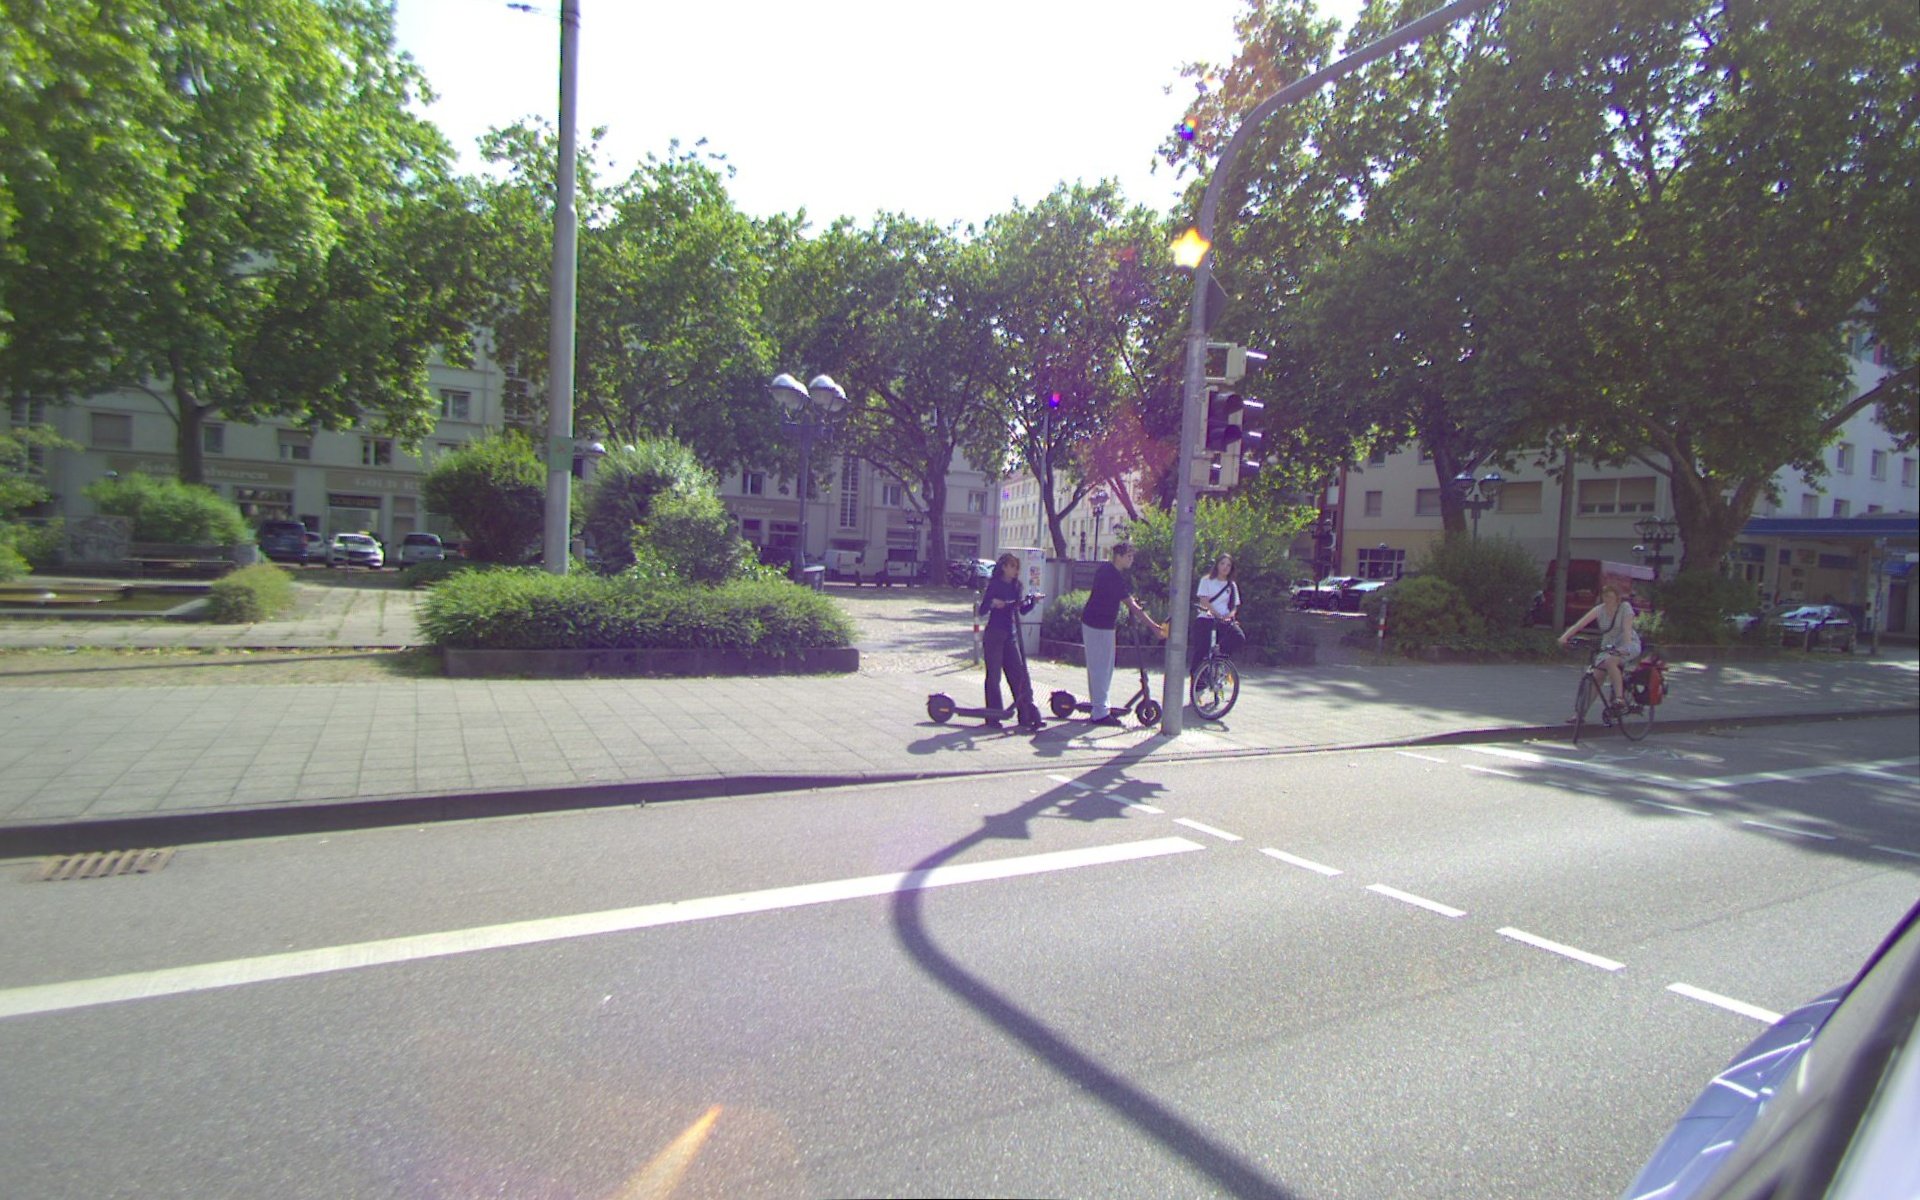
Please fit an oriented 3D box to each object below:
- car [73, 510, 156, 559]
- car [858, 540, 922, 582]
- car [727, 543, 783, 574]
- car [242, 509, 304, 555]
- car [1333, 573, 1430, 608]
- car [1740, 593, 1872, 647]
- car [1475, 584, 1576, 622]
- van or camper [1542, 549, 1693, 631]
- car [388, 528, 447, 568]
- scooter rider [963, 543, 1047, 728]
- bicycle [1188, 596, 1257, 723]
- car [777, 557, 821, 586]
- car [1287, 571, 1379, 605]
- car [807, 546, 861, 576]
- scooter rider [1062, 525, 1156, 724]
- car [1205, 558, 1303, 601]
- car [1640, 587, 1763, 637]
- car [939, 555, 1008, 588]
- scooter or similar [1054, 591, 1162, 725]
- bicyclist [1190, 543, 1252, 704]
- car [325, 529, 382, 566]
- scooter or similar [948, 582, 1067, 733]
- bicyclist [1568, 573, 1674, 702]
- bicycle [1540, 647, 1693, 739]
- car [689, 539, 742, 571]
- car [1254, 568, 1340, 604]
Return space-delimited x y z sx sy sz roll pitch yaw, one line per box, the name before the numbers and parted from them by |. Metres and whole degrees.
car | -31.821 -2.474 38.196 1.815 1.679 4.088 1 3 -32
car | -3.758 -2.022 53.610 2.208 2.039 3.942 1 0 -22
car | -12.459 -2.514 61.354 2.041 1.679 4.089 1 3 -32
car | -27.677 -2.748 40.801 1.961 1.704 4.003 1 3 -34
car | 17.941 -0.394 43.049 3.920 1.381 1.769 1 0 -31
car | 25.406 0.598 30.372 3.920 1.428 1.760 1 2 -31
car | 20.983 0.122 37.543 3.920 1.310 1.480 1 0 -31
van or camper | 23.039 -0.319 35.418 5.240 2.675 2.112 1 0 -28
car | -23.356 -2.250 43.536 1.833 1.537 3.947 1 3 -34
scooter rider | 0.415 0.306 9.286 0.436 1.612 0.537 6 4 38
bicycle | 2.800 0.587 10.908 0.499 1.125 1.628 4 5 9
car | -9.979 -1.751 62.675 1.892 1.688 3.744 1 0 -22
car | 16.682 -0.518 45.205 3.920 1.381 1.769 1 0 -31
car | -8.000 -2.484 64.015 1.815 1.679 4.089 1 3 -32
scooter rider | 1.422 0.216 9.774 0.666 1.831 0.546 3 3 -4
car | 14.531 -0.978 49.915 4.588 1.959 2.002 1 0 -31
car | 23.964 0.393 32.692 3.920 1.428 1.760 1 2 -31
car | 0.692 -1.595 55.791 1.815 1.551 4.089 1 3 -32
scooter or similar | 1.418 0.549 9.793 0.859 1.185 0.546 3 3 -4
bicyclist | 2.865 0.235 11.152 0.499 1.687 0.582 4 4 10
car | -25.103 -2.176 41.834 1.833 1.370 3.947 1 3 -34
scooter or similar | 0.432 0.494 9.273 0.873 1.240 0.537 6 4 39
bicyclist | 7.279 0.407 11.151 0.890 1.360 0.472 2 2 -21
bicycle | 7.243 1.010 11.161 1.681 0.932 0.472 2 2 -21
car | -14.511 -2.692 59.981 1.815 1.679 4.089 1 3 -32
car | 15.938 -0.651 47.845 3.920 1.539 1.666 1 0 -31
